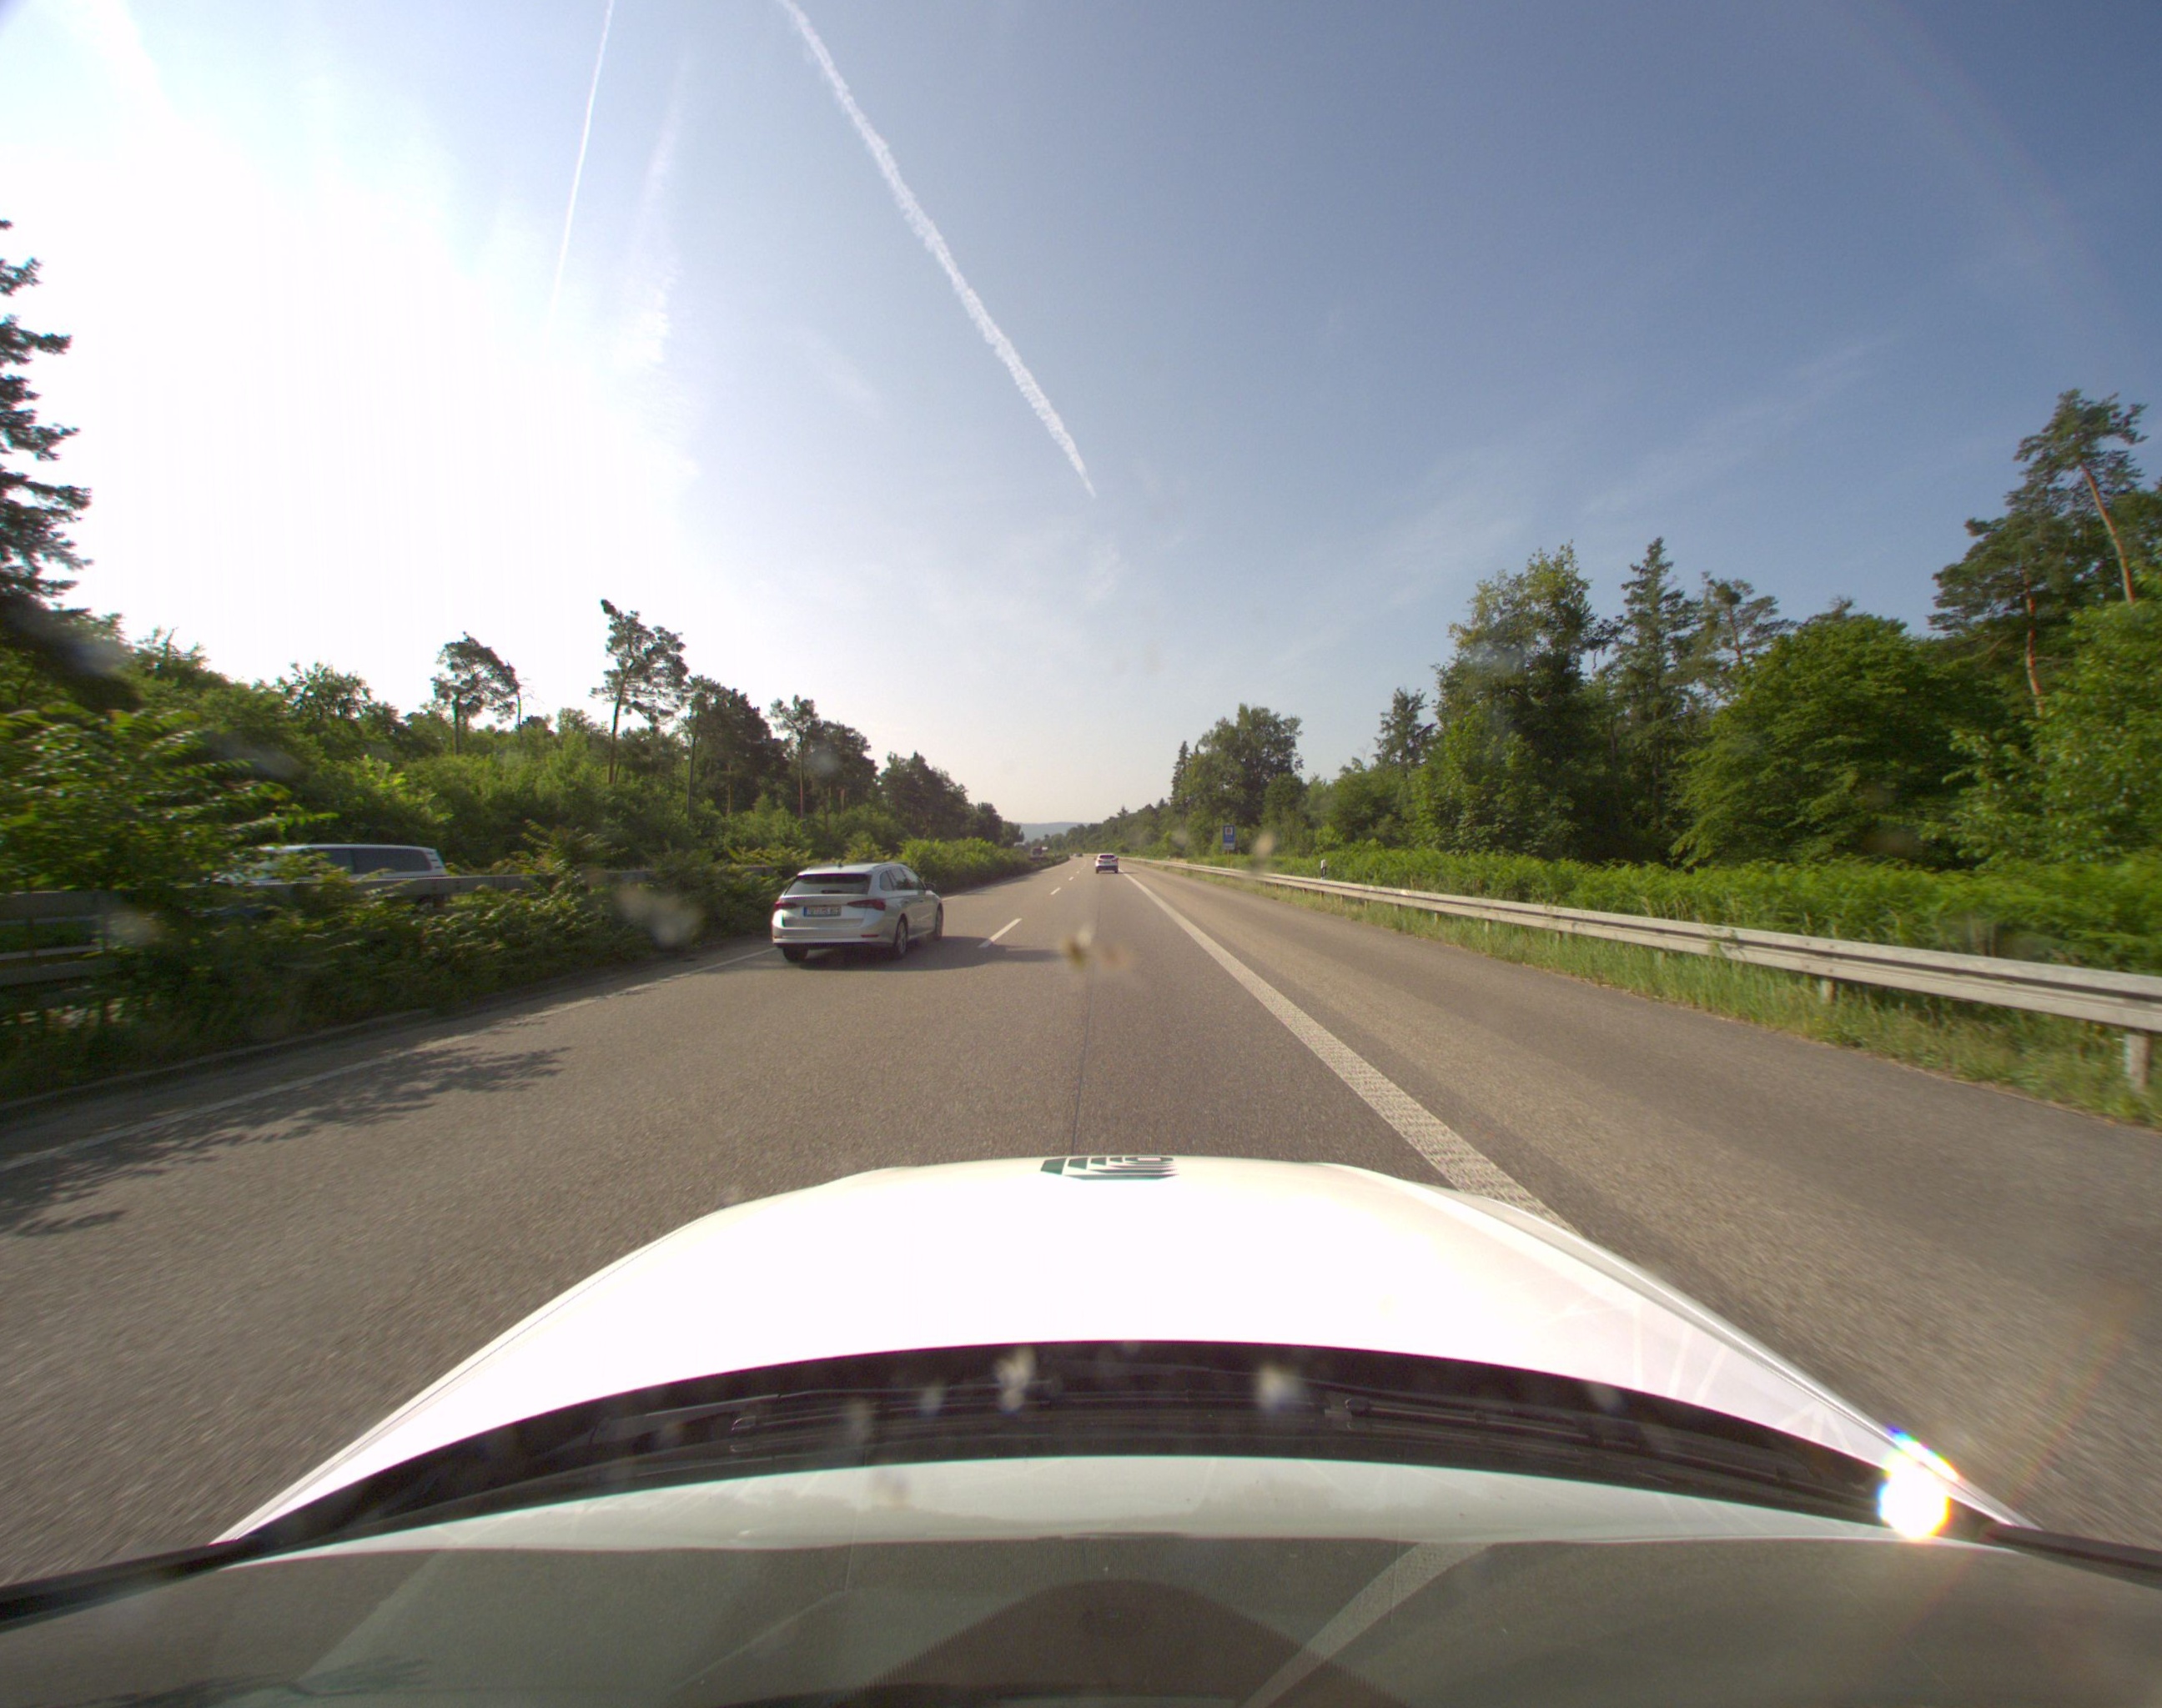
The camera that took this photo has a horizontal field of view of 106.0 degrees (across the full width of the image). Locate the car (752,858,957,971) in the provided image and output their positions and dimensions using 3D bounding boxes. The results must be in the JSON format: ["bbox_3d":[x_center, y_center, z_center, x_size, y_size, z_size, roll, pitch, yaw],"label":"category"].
[{"bbox_3d":[-3.480,0.837,13.705,1.785,1.438,5.280,-2,0,2],"label":"car"}]

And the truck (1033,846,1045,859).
[{"bbox_3d":[-12.650,-0.465,243.728,3.256,4.039,6.232,-1,0,0],"label":"truck"}]

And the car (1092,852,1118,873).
[{"bbox_3d":[1.904,0.672,65.705,1.869,1.586,3.997,1,0,-2],"label":"car"}]

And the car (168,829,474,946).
[{"bbox_3d":[-14.863,0.595,16.378,1.808,2.014,4.496,-1,0,2],"label":"car"}]
